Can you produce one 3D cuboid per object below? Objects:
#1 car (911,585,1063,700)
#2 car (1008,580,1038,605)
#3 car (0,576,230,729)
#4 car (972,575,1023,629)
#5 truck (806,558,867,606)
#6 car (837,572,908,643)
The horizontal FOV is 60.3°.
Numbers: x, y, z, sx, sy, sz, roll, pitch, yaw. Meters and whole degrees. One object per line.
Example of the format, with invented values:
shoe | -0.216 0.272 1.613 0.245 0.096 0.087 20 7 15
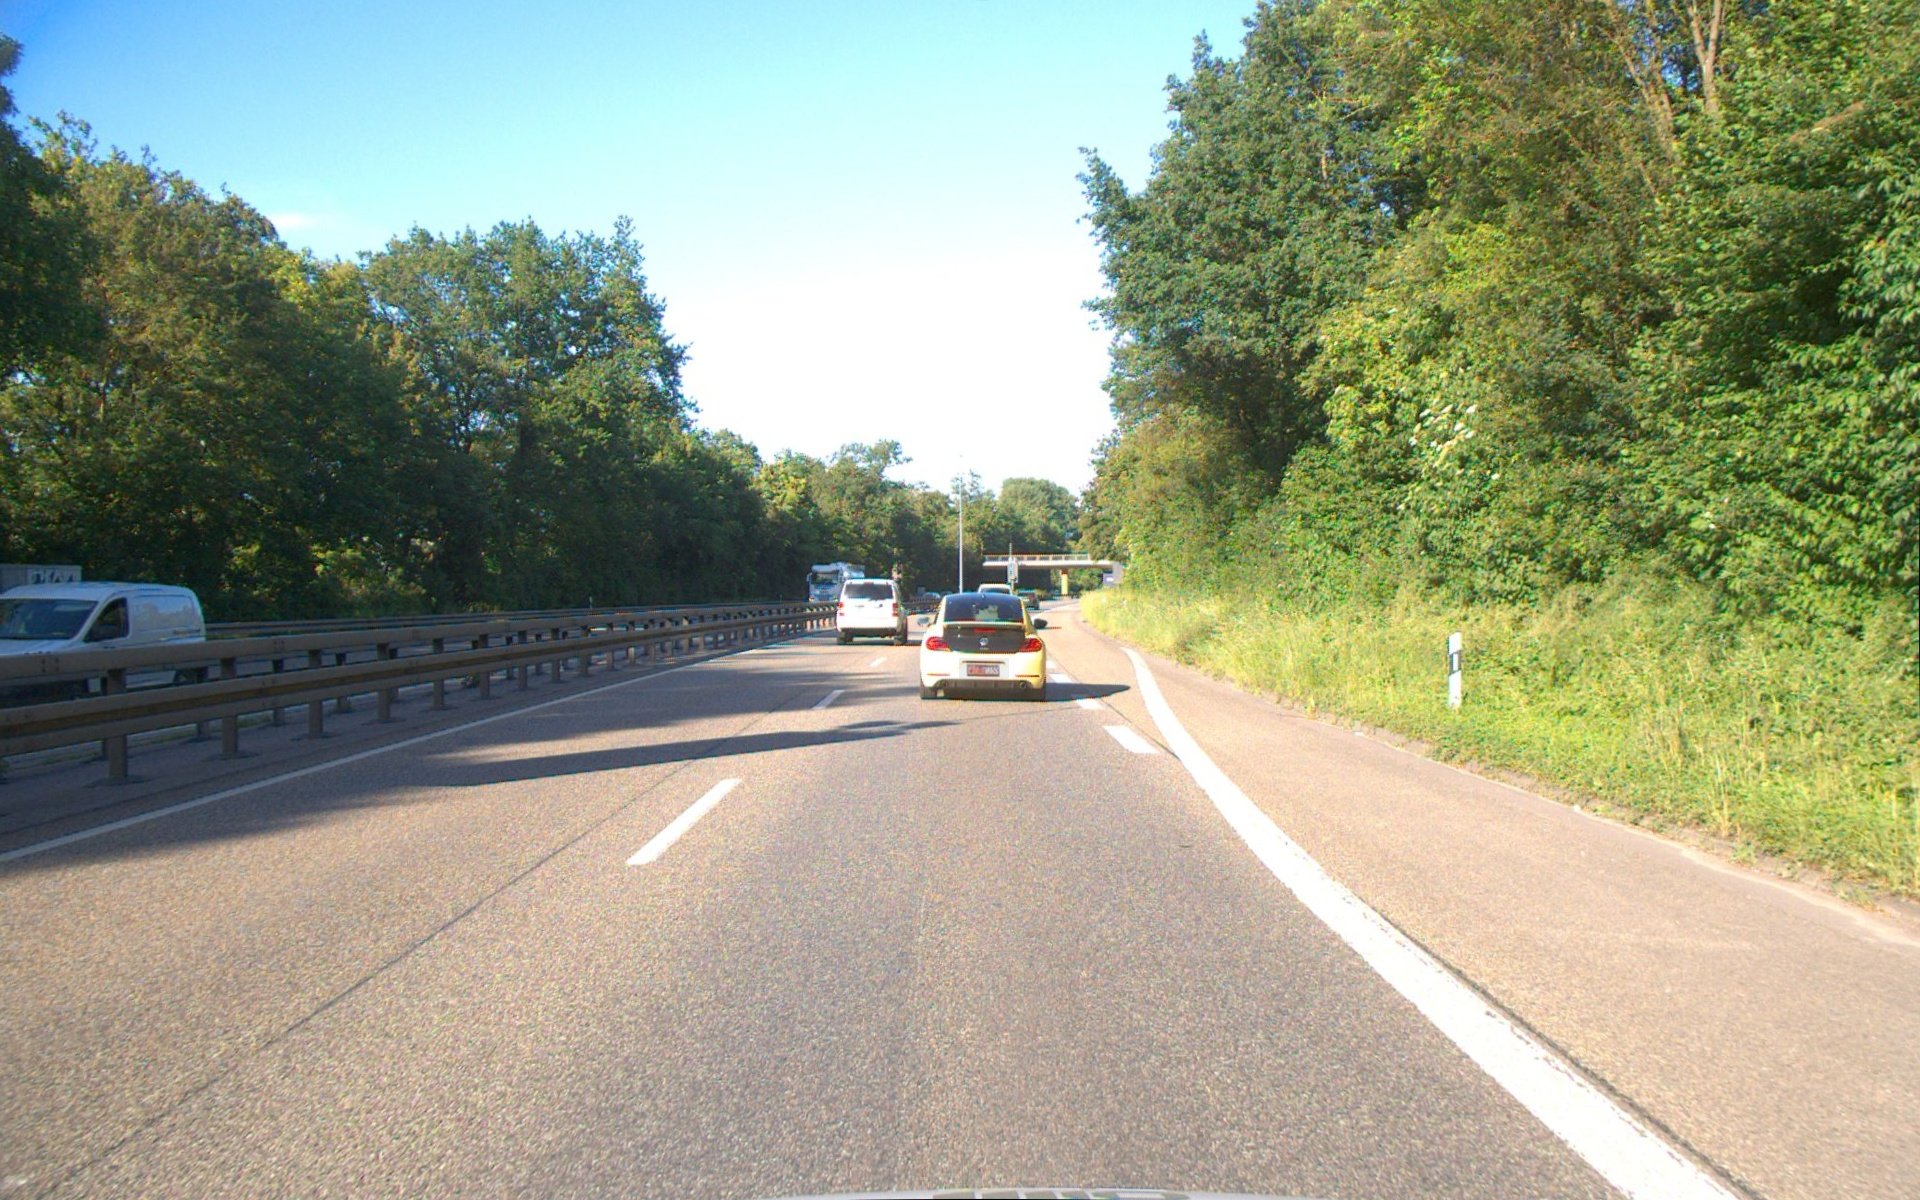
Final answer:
car | 0.311 0.557 23.811 1.901 1.534 3.419 0 0 -4
car | 4.995 -0.612 131.129 2.216 1.908 5.077 -2 1 1
car | -11.980 0.633 22.370 1.953 1.820 5.028 -2 1 0
car | 1.529 0.057 67.617 1.952 2.048 4.001 -2 1 1
truck | -9.870 -1.498 133.464 2.827 3.582 11.960 -2 1 5
car | -2.366 0.180 45.526 1.705 1.862 3.423 1 0 1
